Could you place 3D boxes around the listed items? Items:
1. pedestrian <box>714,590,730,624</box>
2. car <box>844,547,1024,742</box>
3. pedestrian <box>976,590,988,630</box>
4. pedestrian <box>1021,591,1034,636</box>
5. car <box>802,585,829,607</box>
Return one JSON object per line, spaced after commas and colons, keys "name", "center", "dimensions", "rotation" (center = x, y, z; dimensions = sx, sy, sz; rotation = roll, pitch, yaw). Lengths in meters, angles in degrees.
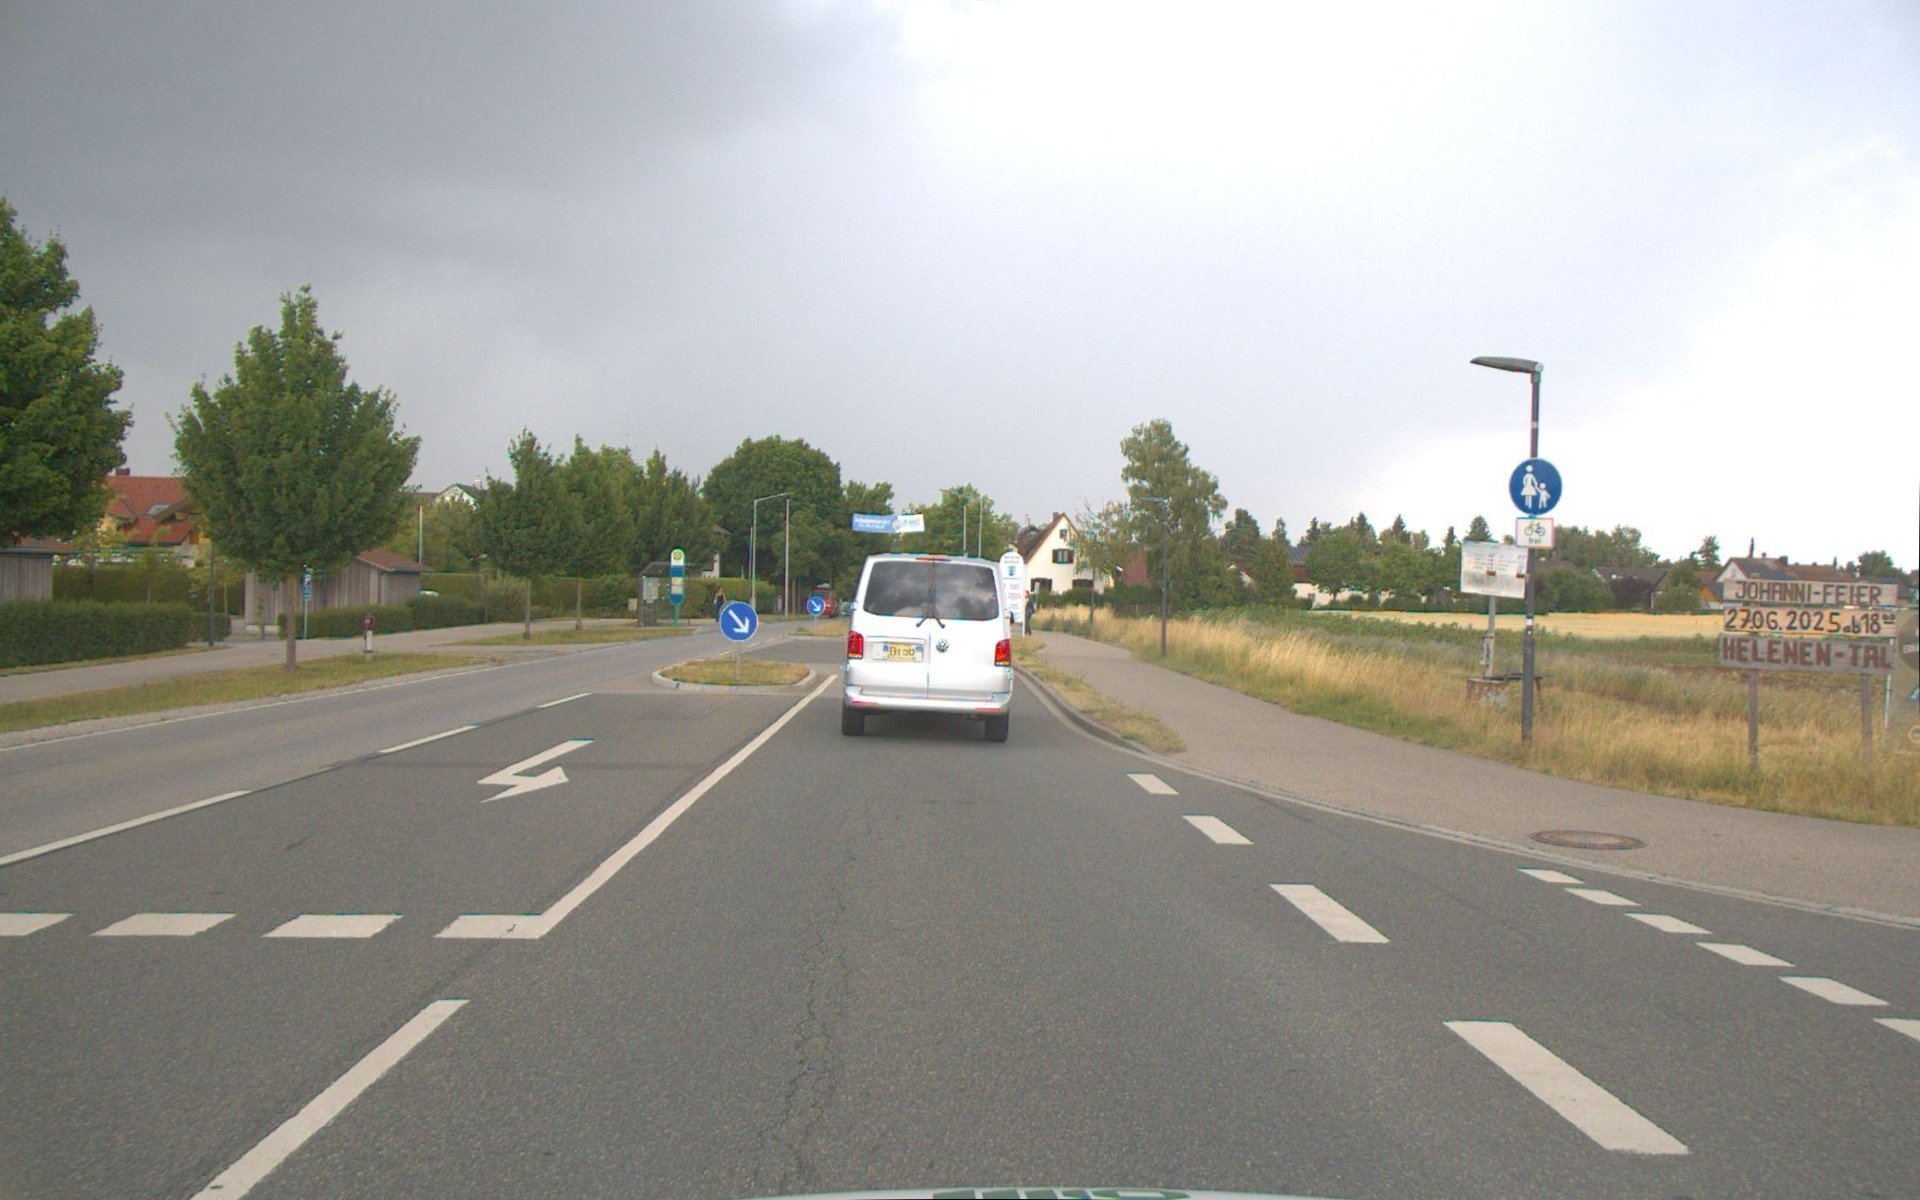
{"name": "pedestrian", "center": [-10.934, 0.318, 76.018], "dimensions": [0.611, 1.551, 0.679], "rotation": [-1, 0, -2]}
{"name": "car", "center": [-0.371, 0.439, 19.029], "dimensions": [1.789, 1.947, 3.998], "rotation": [2, 0, -3]}
{"name": "pedestrian", "center": [0.985, 0.443, 73.035], "dimensions": [0.475, 1.762, 0.642], "rotation": [-1, 0, -2]}
{"name": "pedestrian", "center": [2.674, 0.522, 65.522], "dimensions": [0.475, 1.762, 0.642], "rotation": [-1, 0, 3]}
{"name": "car", "center": [-10.023, -0.271, 114.824], "dimensions": [1.620, 1.454, 3.601], "rotation": [-1, 1, -2]}
